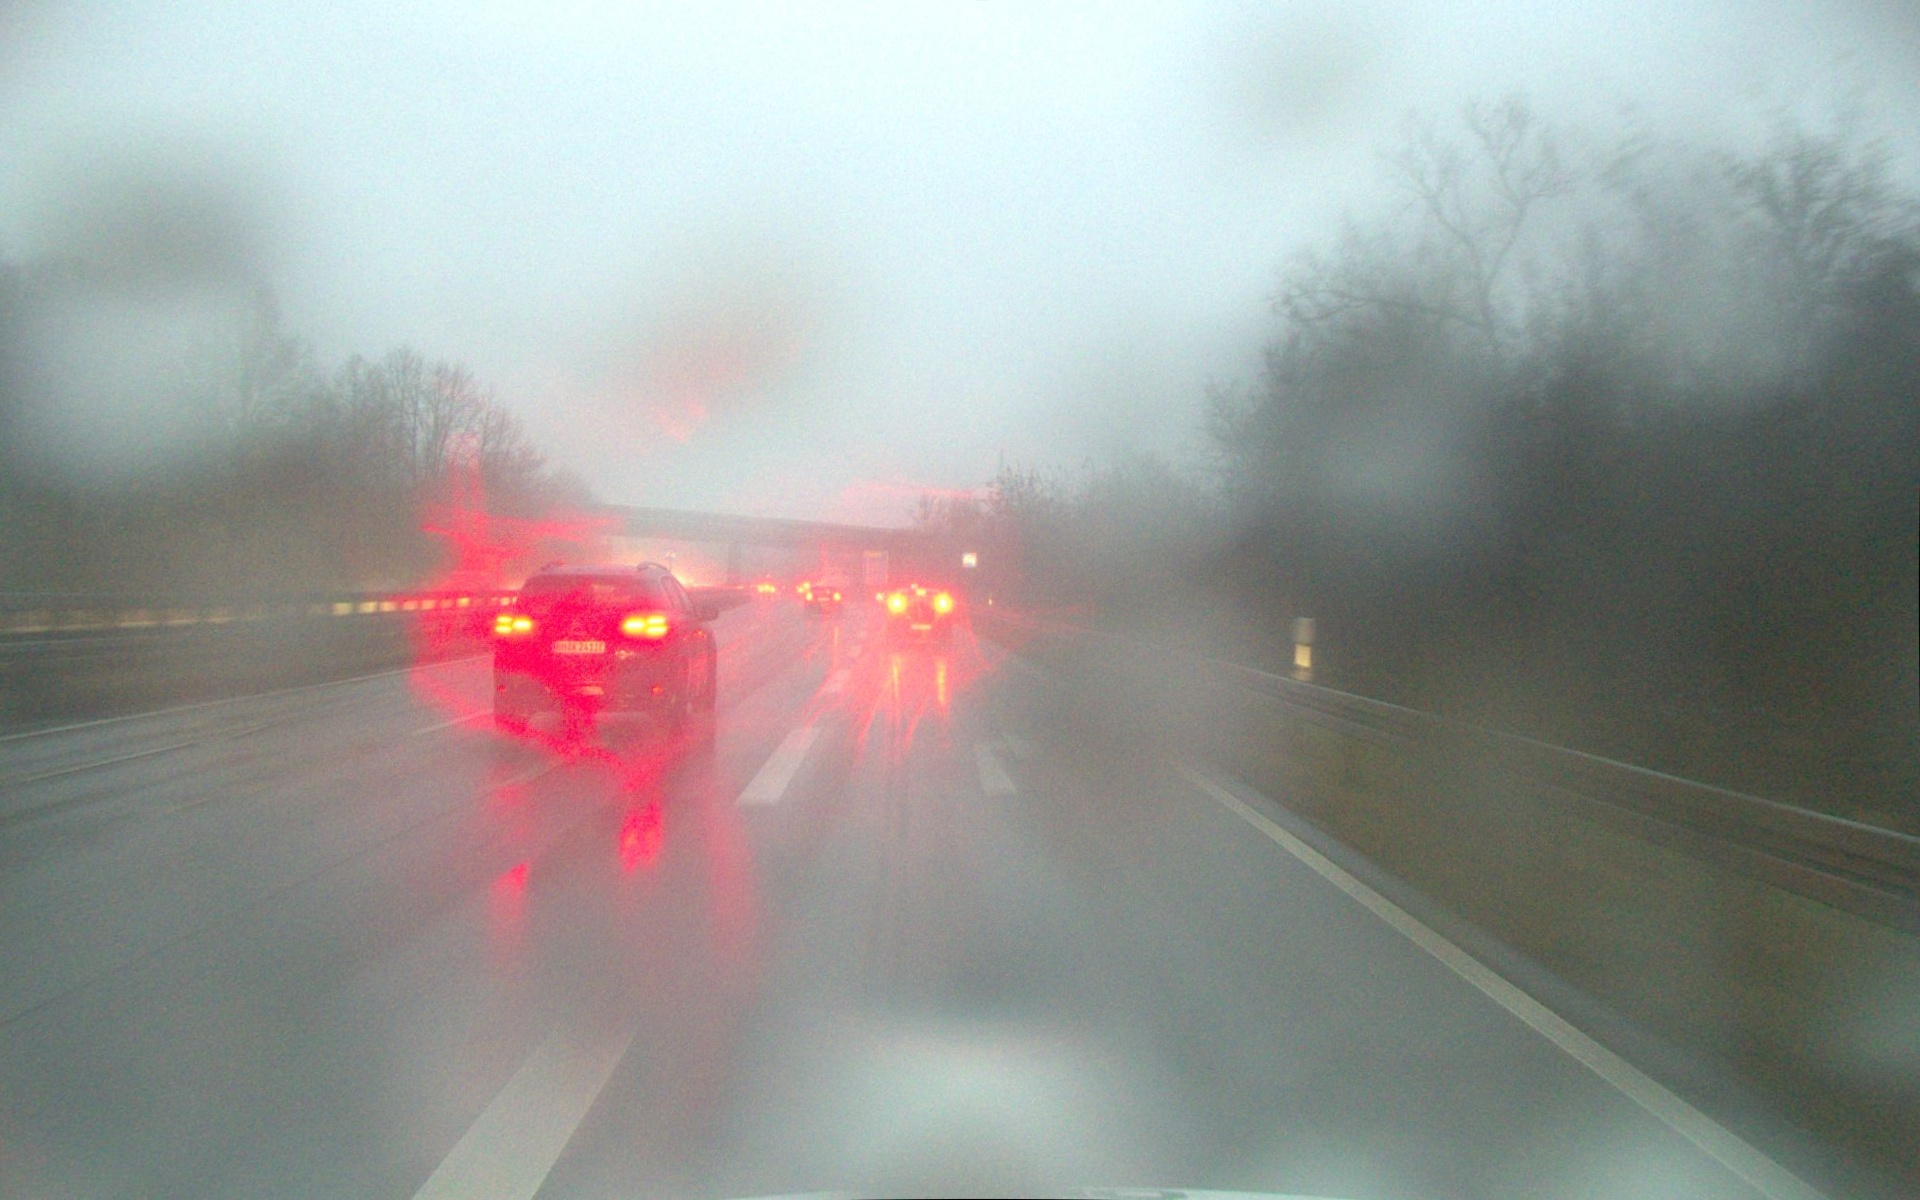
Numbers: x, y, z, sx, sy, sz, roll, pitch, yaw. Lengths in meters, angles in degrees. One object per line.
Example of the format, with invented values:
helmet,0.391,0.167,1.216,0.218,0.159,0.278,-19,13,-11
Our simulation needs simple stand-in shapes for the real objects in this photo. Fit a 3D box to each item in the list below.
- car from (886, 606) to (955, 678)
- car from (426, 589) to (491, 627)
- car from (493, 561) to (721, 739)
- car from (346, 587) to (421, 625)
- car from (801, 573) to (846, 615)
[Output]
car,-1.009,1.055,43.284,1.697,1.453,3.767,1,5,-1
car,-20.086,0.360,66.343,1.543,1.400,3.840,2,-1,-3
car,-3.665,0.463,17.864,1.955,1.694,3.995,1,1,-6
car,-23.461,0.272,67.471,1.543,1.400,4.780,2,-1,-3
car,-6.009,-0.287,73.100,1.841,1.645,3.872,2,2,-4
